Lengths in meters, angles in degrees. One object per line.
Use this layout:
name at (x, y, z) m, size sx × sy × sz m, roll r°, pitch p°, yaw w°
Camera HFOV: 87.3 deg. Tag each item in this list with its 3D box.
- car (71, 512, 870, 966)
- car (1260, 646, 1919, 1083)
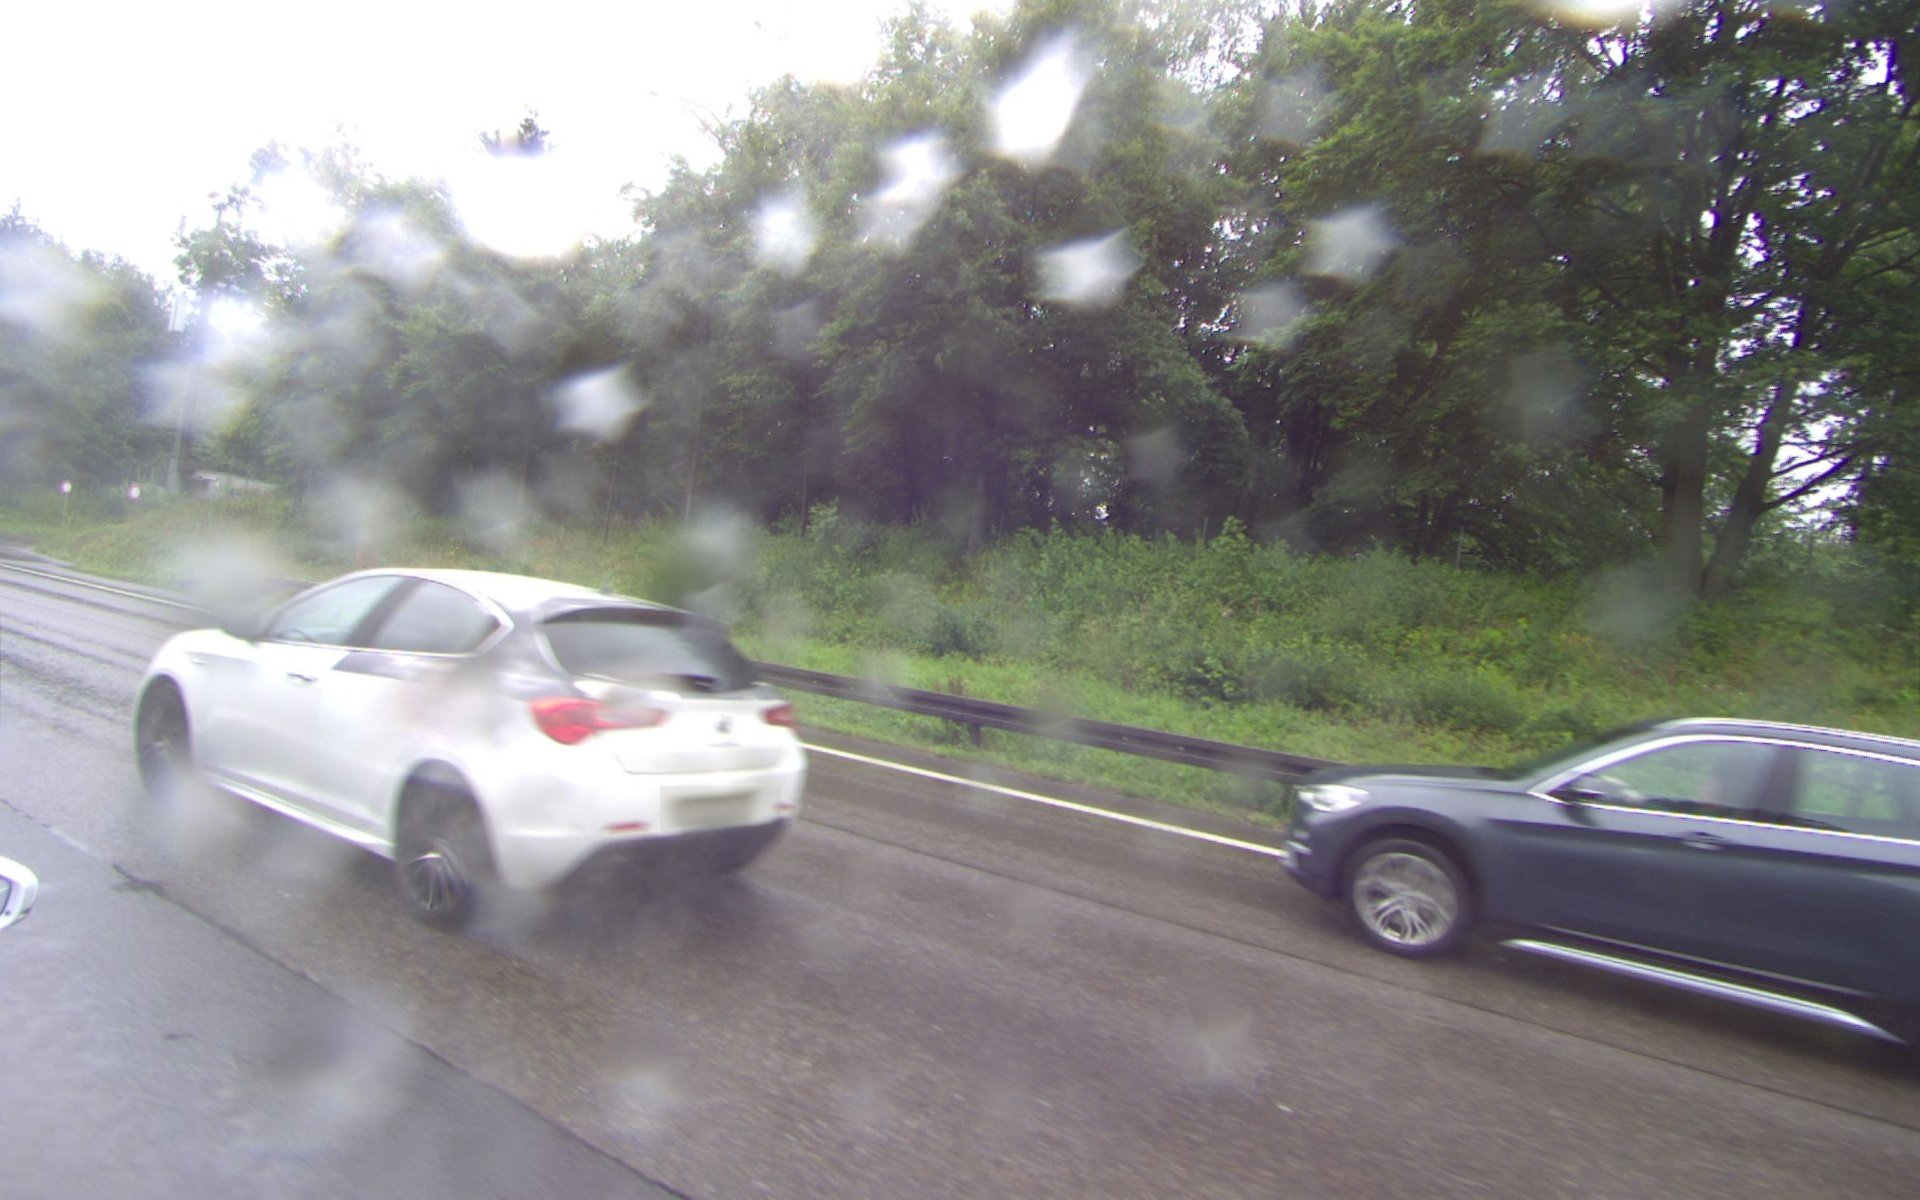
car at (-2.907, 0.498, 5.674) m, size 4.409 × 1.442 × 1.893 m, roll 7°, pitch -2°, yaw 32°
car at (4.403, 1.410, 5.694) m, size 4.689 × 1.602 × 1.993 m, roll 7°, pitch -2°, yaw 33°
